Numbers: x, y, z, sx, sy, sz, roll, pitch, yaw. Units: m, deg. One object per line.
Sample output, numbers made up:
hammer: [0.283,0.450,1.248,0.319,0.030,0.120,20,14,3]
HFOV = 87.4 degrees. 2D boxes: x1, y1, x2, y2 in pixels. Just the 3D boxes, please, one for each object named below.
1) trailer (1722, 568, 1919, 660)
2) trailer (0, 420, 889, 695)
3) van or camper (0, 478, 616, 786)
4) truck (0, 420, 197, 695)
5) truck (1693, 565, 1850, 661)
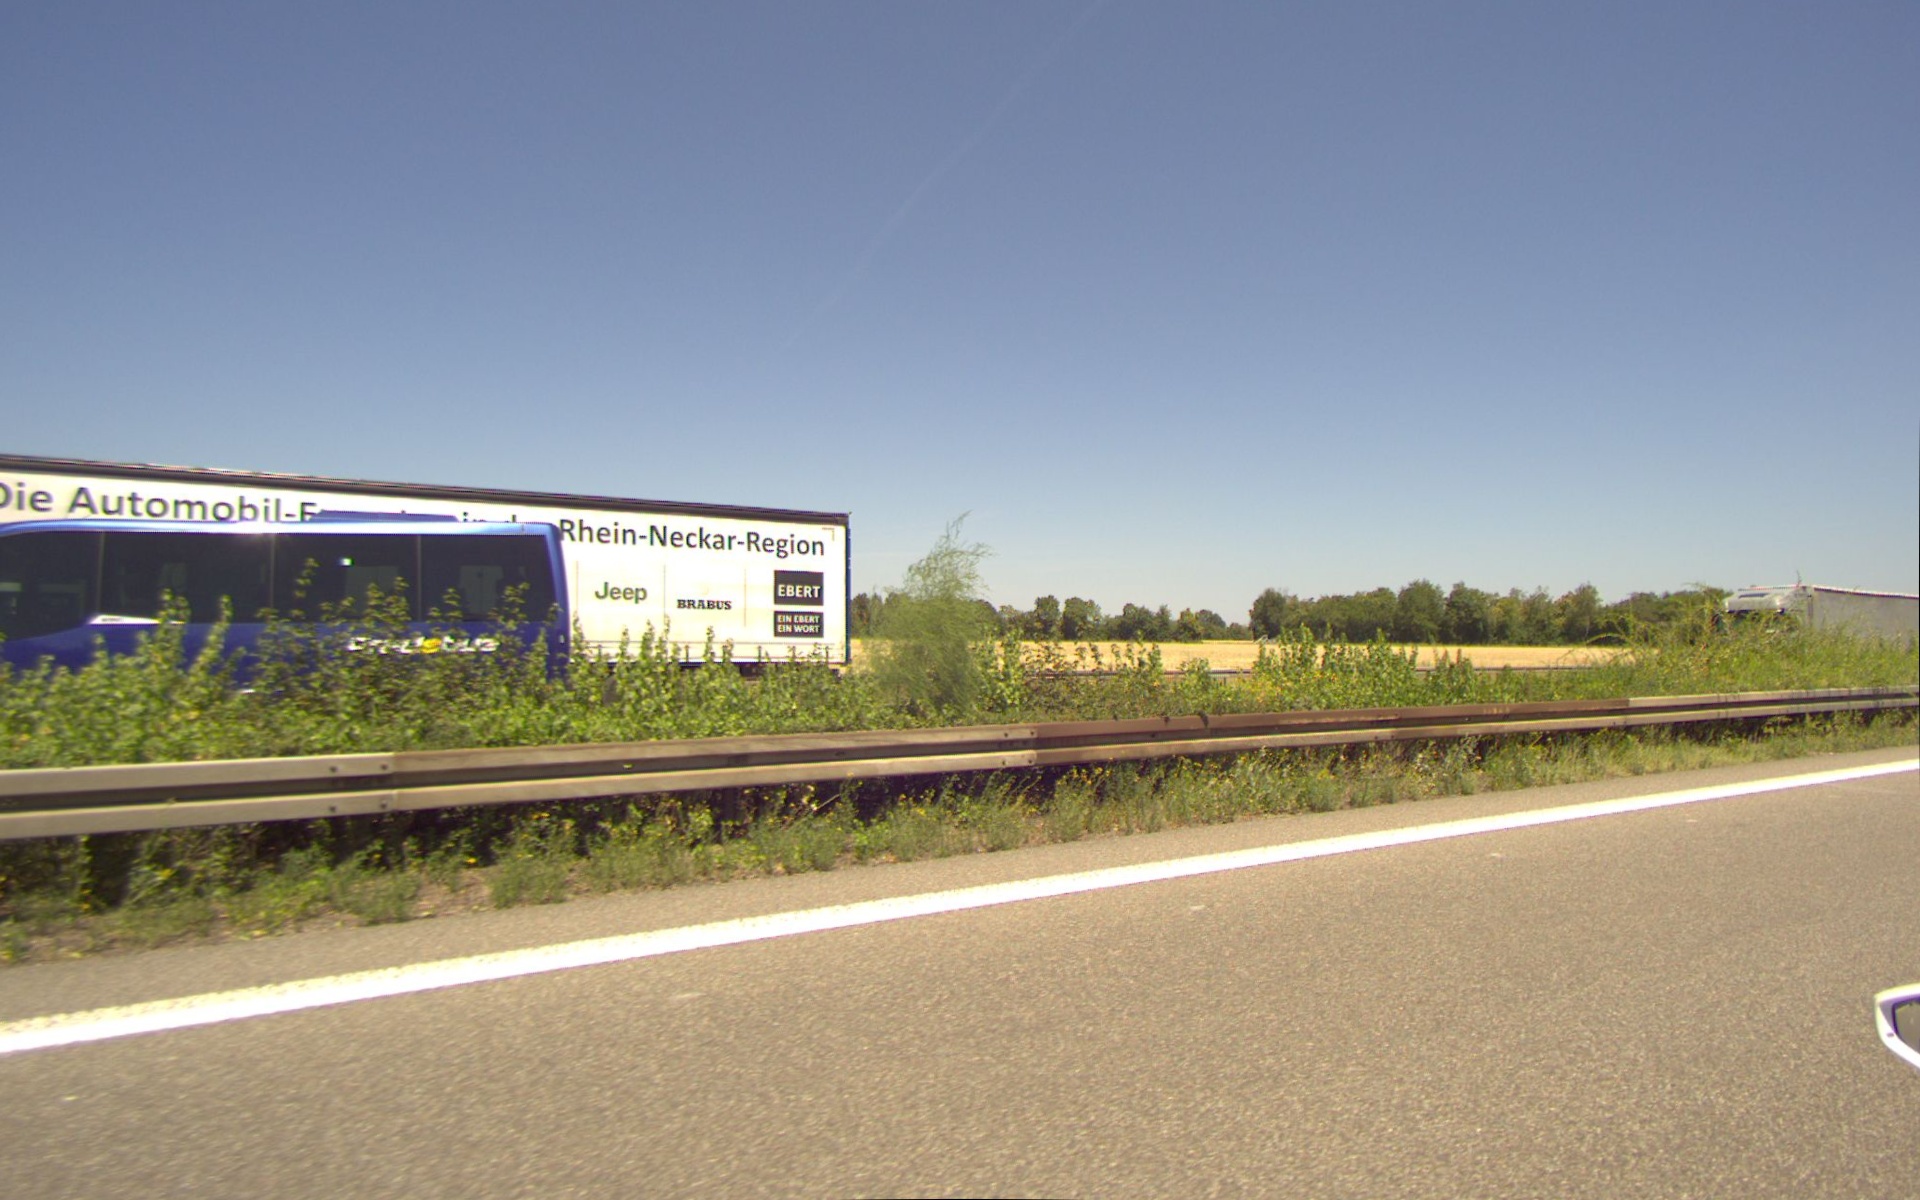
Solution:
trailer: [40.225,0.727,46.198,14.221,3.748,3.331,2,0,-32]
trailer: [-8.383,-0.441,18.208,14.211,3.748,3.095,2,0,-30]
van or camper: [-10.117,0.353,11.552,11.376,3.142,2.598,2,-2,-30]
truck: [-14.639,-0.617,14.626,5.136,3.748,3.096,1,0,-30]
truck: [34.374,0.564,42.543,5.997,3.748,3.332,2,0,-32]
